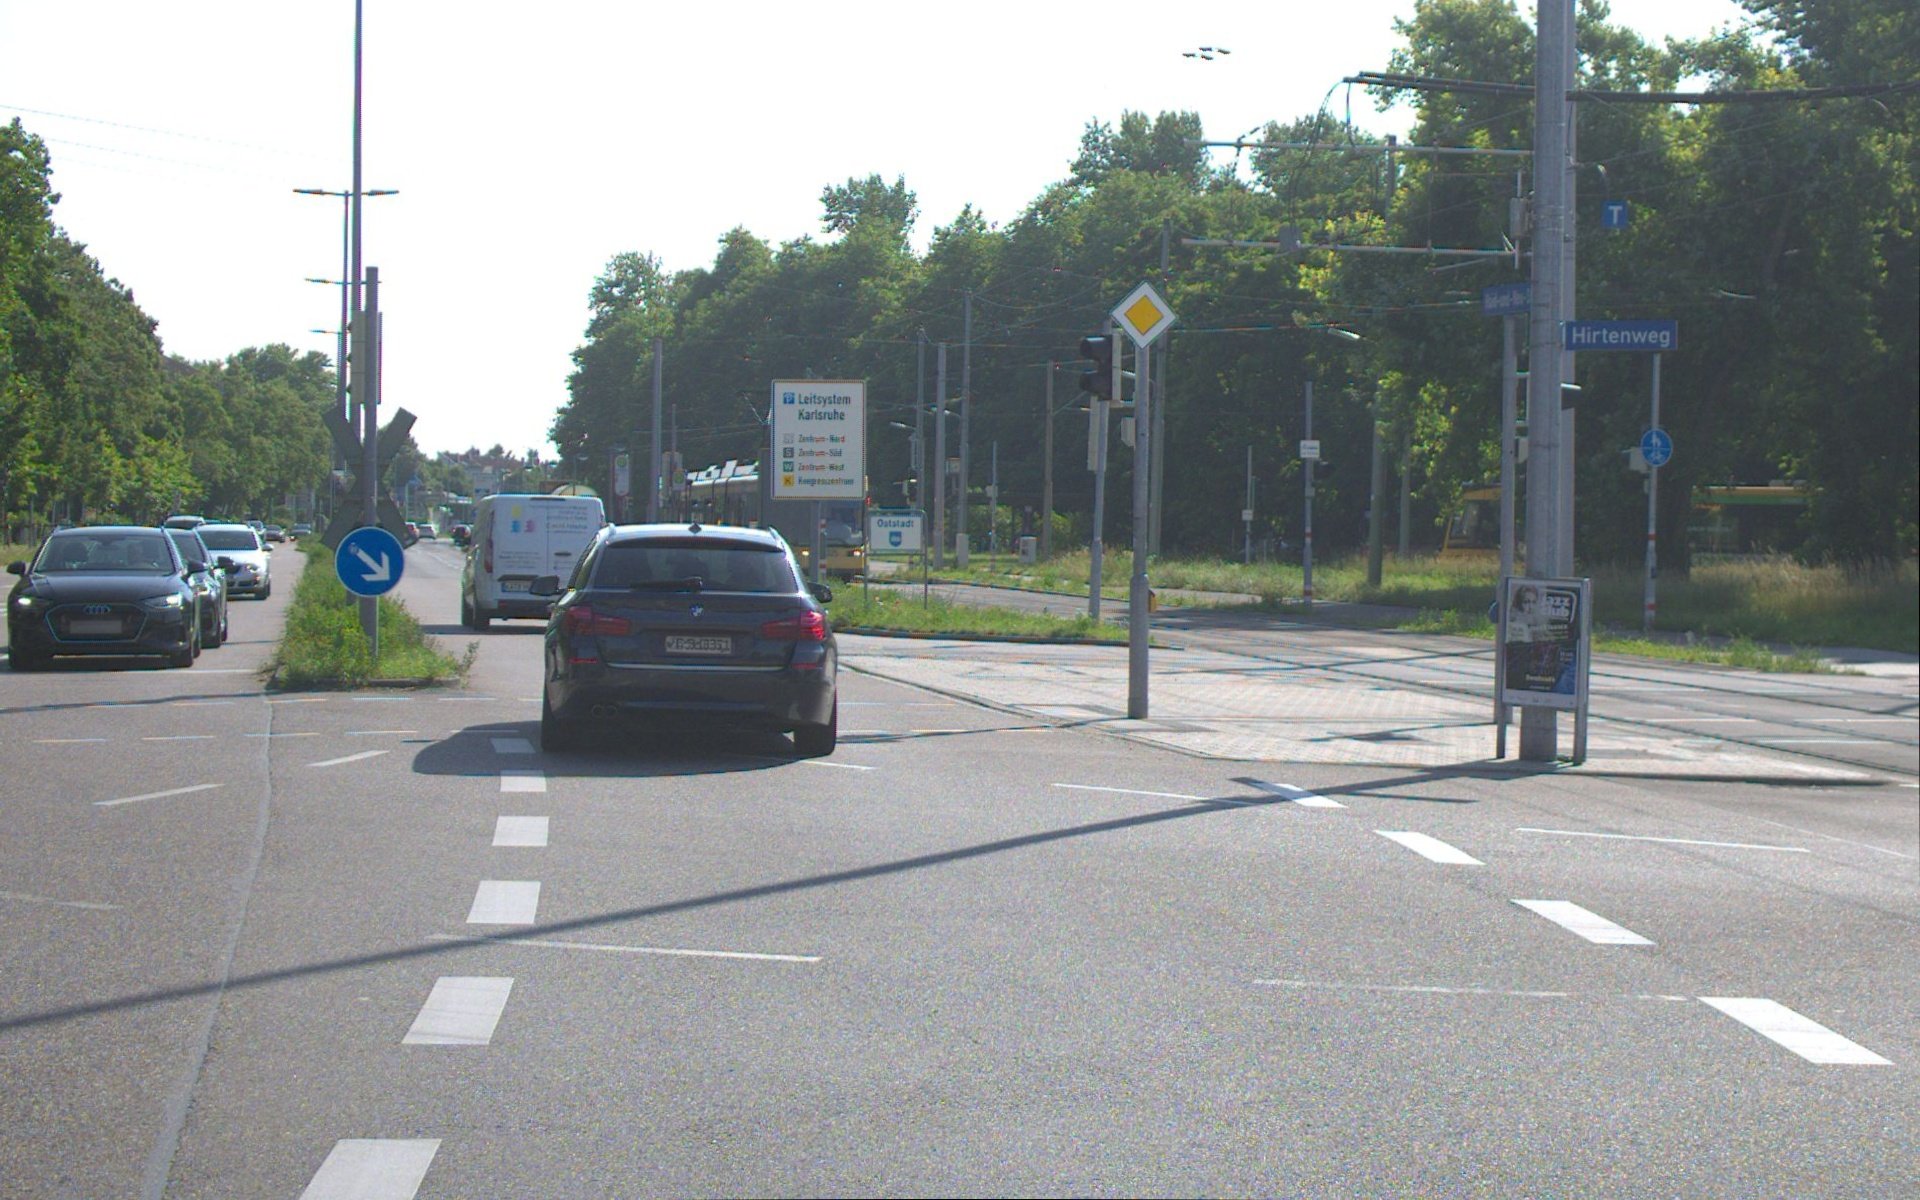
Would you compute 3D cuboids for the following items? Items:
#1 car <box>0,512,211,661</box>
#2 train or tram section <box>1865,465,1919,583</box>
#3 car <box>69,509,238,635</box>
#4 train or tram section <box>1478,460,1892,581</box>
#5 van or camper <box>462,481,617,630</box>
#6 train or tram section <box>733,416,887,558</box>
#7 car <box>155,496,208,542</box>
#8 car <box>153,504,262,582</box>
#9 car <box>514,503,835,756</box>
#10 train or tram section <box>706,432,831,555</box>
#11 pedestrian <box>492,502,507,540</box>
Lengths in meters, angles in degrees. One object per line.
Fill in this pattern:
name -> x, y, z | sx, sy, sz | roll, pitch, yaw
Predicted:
car -> -8.812, -0.191, 35.686 | 1.828, 1.426, 4.733 | 0, 2, -10
train or tram section -> 33.860, -2.194, 103.854 | 12.207, 3.567, 3.050 | 2, 1, 25
car -> -9.759, -0.382, 41.855 | 1.828, 1.430, 4.382 | 0, 2, -11
train or tram section -> 22.822, -2.525, 108.444 | 12.412, 3.567, 3.051 | 1, 1, 20
van or camper -> -6.328, -0.694, 51.349 | 1.993, 2.089, 4.600 | 1, 1, -10
train or tram section -> -4.301, -3.022, 95.343 | 2.795, 3.606, 12.959 | 2, 1, -9
car -> -30.814, -3.225, 136.113 | 1.788, 1.766, 4.571 | 1, 1, -10
car -> -14.958, -1.167, 68.522 | 1.848, 1.472, 4.647 | 1, 1, -9
car -> -1.909, 0.131, 22.715 | 1.903, 1.500, 4.066 | 1, 1, -5
train or tram section -> -6.075, -3.230, 107.316 | 2.749, 3.541, 11.260 | 2, 1, -8
pedestrian -> -24.587, -4.243, 183.506 | 0.698, 2.007, 0.703 | 1, 1, -11
